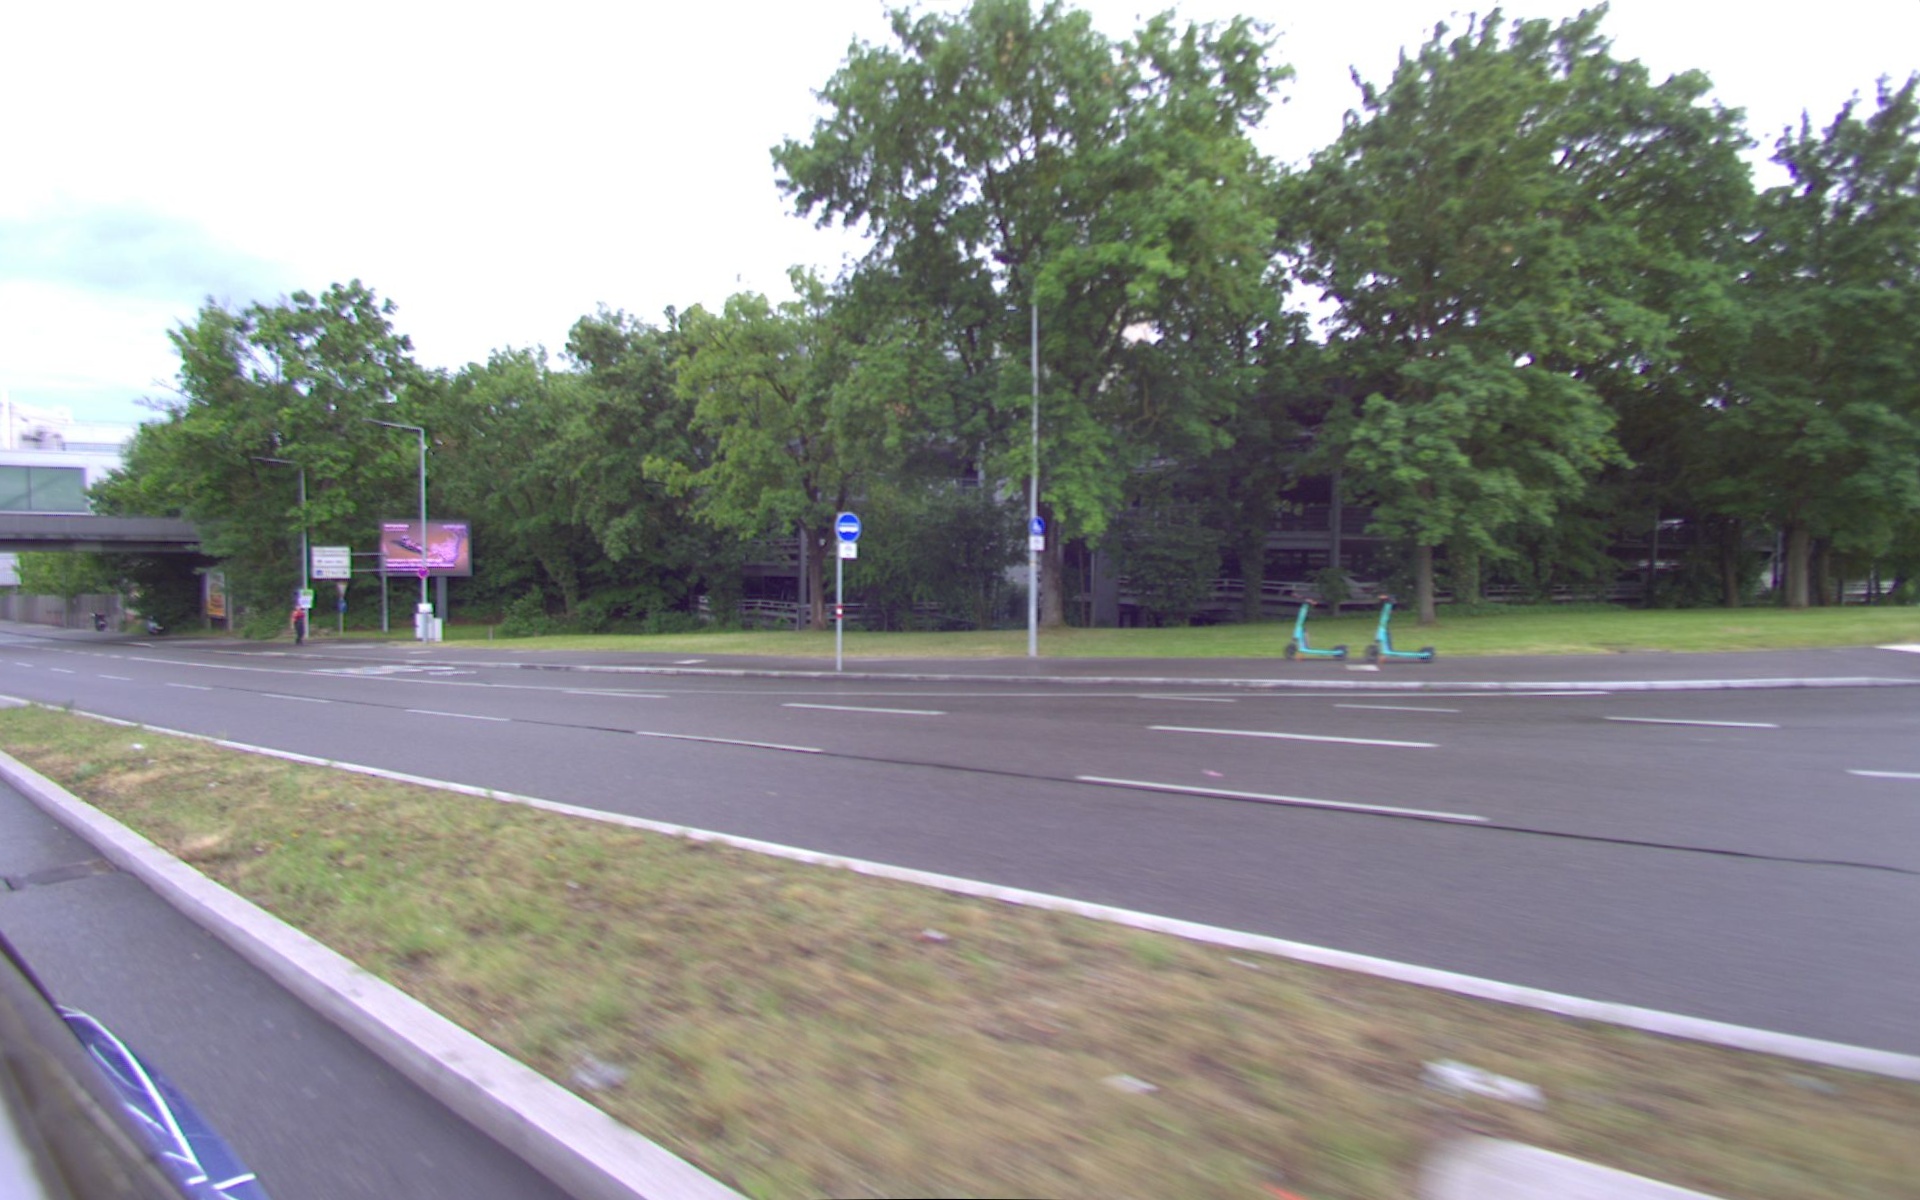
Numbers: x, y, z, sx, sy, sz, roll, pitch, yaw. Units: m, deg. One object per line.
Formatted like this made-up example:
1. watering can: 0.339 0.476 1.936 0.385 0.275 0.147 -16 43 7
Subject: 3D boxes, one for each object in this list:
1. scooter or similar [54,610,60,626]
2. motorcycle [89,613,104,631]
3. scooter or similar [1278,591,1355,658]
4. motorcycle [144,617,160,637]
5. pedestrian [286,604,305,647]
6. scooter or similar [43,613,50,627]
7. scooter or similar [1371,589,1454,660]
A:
1. scooter or similar: -73.169 1.454 81.974 0.308 1.227 1.308 -1 1 -44
2. motorcycle: -60.917 1.550 71.400 1.995 1.214 0.464 -1 0 40
3. scooter or similar: 6.671 0.467 18.977 1.301 1.227 0.309 -2 0 27
4. motorcycle: -48.469 1.630 60.691 1.932 1.167 0.463 -1 0 44
5. pedestrian: -28.613 1.081 43.573 0.513 1.829 0.800 -2 1 -39
6. scooter or similar: -76.877 1.684 85.177 1.307 1.227 0.308 0 1 41
7. scooter or similar: 8.021 0.440 17.953 1.301 1.227 0.309 -2 0 27
